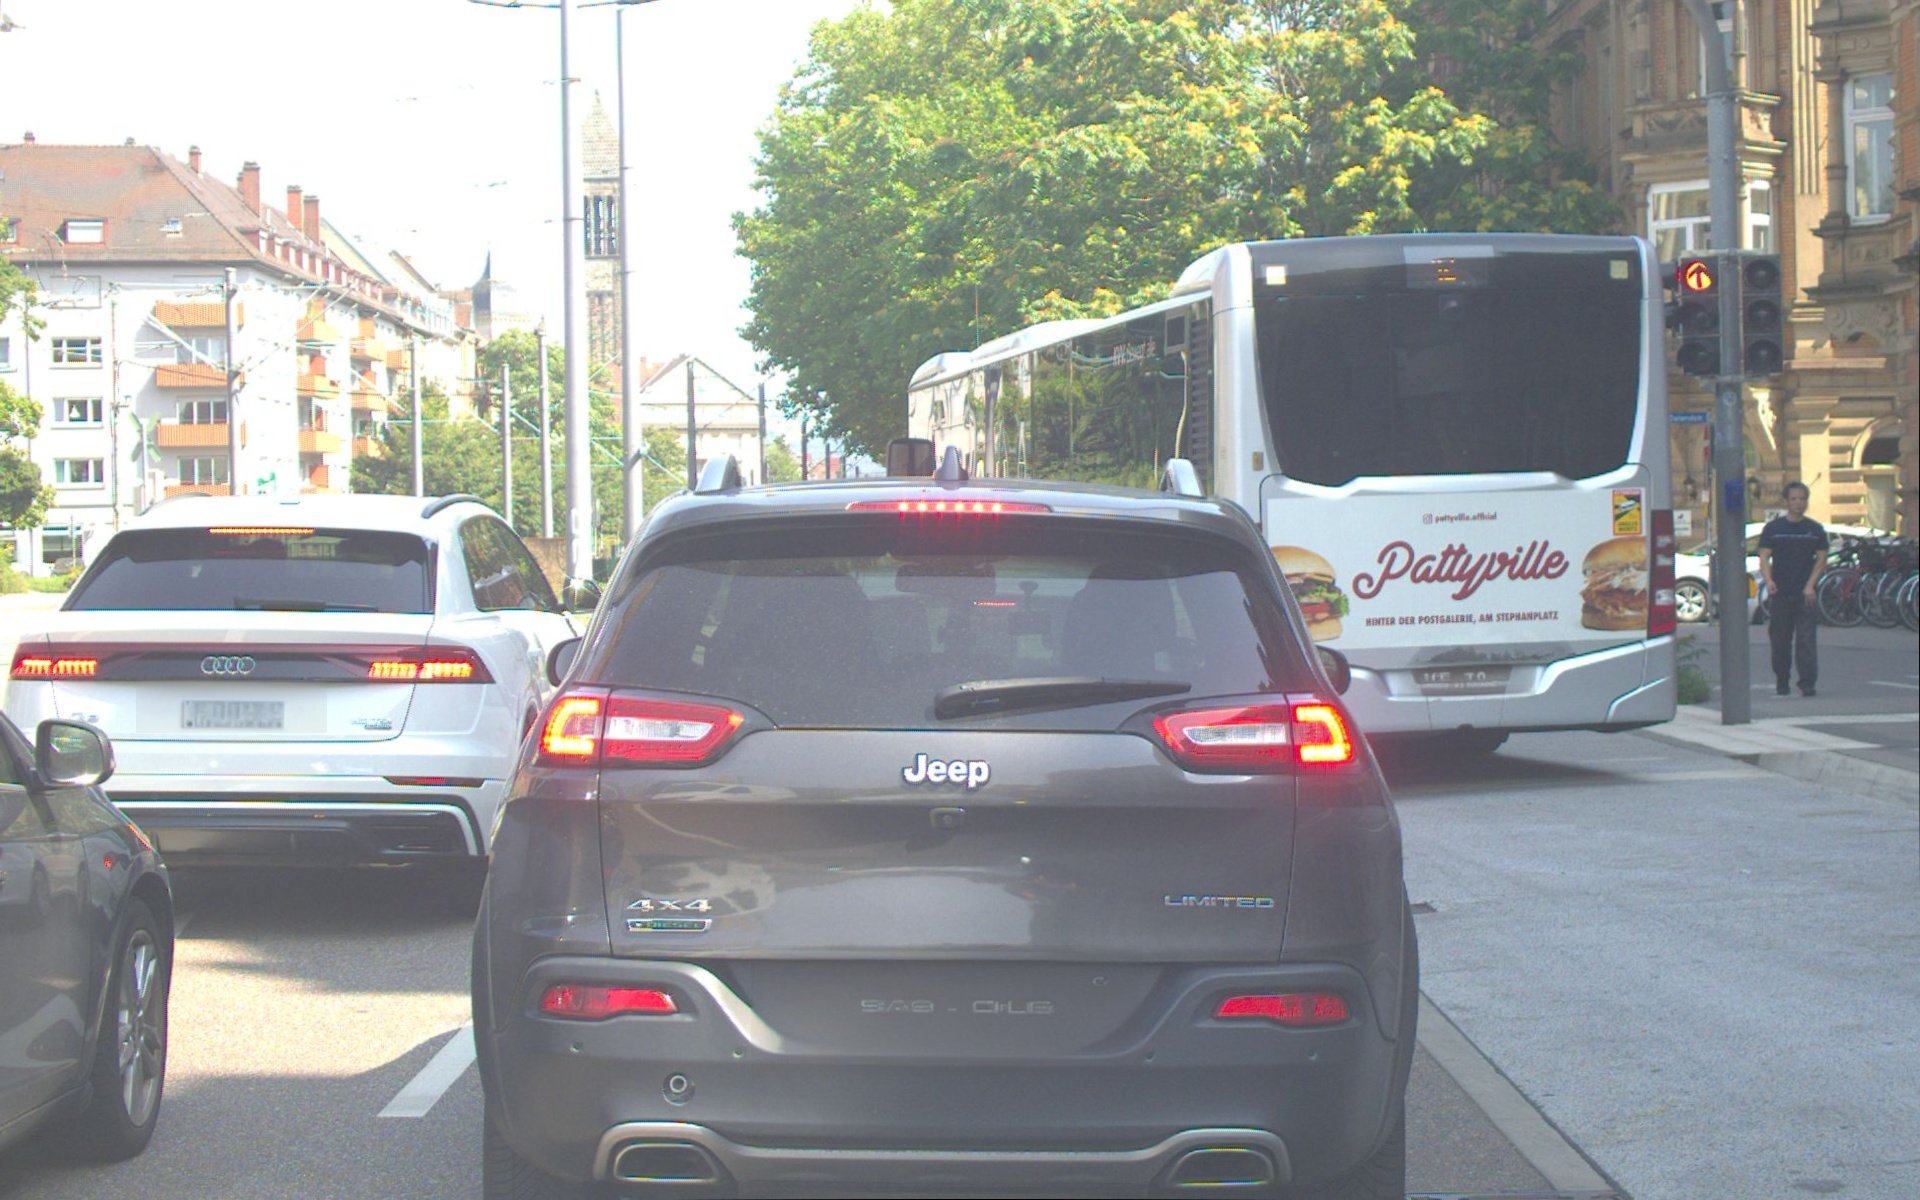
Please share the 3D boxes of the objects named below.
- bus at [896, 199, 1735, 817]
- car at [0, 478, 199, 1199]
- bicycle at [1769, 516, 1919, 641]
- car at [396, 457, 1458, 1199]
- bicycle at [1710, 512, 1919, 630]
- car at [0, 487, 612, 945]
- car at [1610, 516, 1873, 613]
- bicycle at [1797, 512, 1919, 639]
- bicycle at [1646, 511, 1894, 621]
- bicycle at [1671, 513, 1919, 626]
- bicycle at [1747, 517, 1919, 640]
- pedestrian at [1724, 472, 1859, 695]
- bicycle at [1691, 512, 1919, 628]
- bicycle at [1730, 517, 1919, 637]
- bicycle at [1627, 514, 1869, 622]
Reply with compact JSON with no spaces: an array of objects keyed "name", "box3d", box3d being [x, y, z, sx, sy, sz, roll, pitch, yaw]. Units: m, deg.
[{"name":"bus","box3d":[1.787,-0.546,23.993,2.743,3.096,11.958,-4,1,-9]},{"name":"car","box3d":[-2.822,0.558,6.708,1.747,1.609,4.309,0,1,0]},{"name":"bicycle","box3d":[10.769,-0.267,38.904,2.993,1.366,0.871,-1,1,-1]},{"name":"car","box3d":[-0.039,0.538,8.119,1.832,1.646,4.308,0,1,1]},{"name":"bicycle","box3d":[10.722,-0.358,41.707,3.003,1.368,0.947,-1,1,-1]},{"name":"car","box3d":[-2.623,0.367,14.517,1.902,1.646,4.309,0,1,0]},{"name":"car","box3d":[13.046,-0.605,57.476,3.931,1.515,1.683,-1,1,-7]},{"name":"bicycle","box3d":[10.872,-0.293,37.997,2.993,1.366,0.871,-1,1,-1]},{"name":"bicycle","box3d":[10.620,-0.446,45.129,3.003,1.368,0.947,-1,1,-1]},{"name":"bicycle","box3d":[10.673,-0.392,43.813,3.003,1.368,0.947,-1,1,-1]},{"name":"bicycle","box3d":[10.720,-0.266,39.817,2.993,1.366,0.871,-1,1,-1]},{"name":"pedestrian","box3d":[6.699,-0.136,27.730,0.898,1.735,0.768,-2,1,6]},{"name":"bicycle","box3d":[10.722,-0.384,42.802,3.003,1.368,0.947,-1,1,-1]},{"name":"bicycle","box3d":[10.734,-0.288,40.764,2.993,1.366,0.871,-1,1,-1]},{"name":"bicycle","box3d":[10.569,-0.434,46.171,3.003,1.368,0.947,-1,1,-1]}]
